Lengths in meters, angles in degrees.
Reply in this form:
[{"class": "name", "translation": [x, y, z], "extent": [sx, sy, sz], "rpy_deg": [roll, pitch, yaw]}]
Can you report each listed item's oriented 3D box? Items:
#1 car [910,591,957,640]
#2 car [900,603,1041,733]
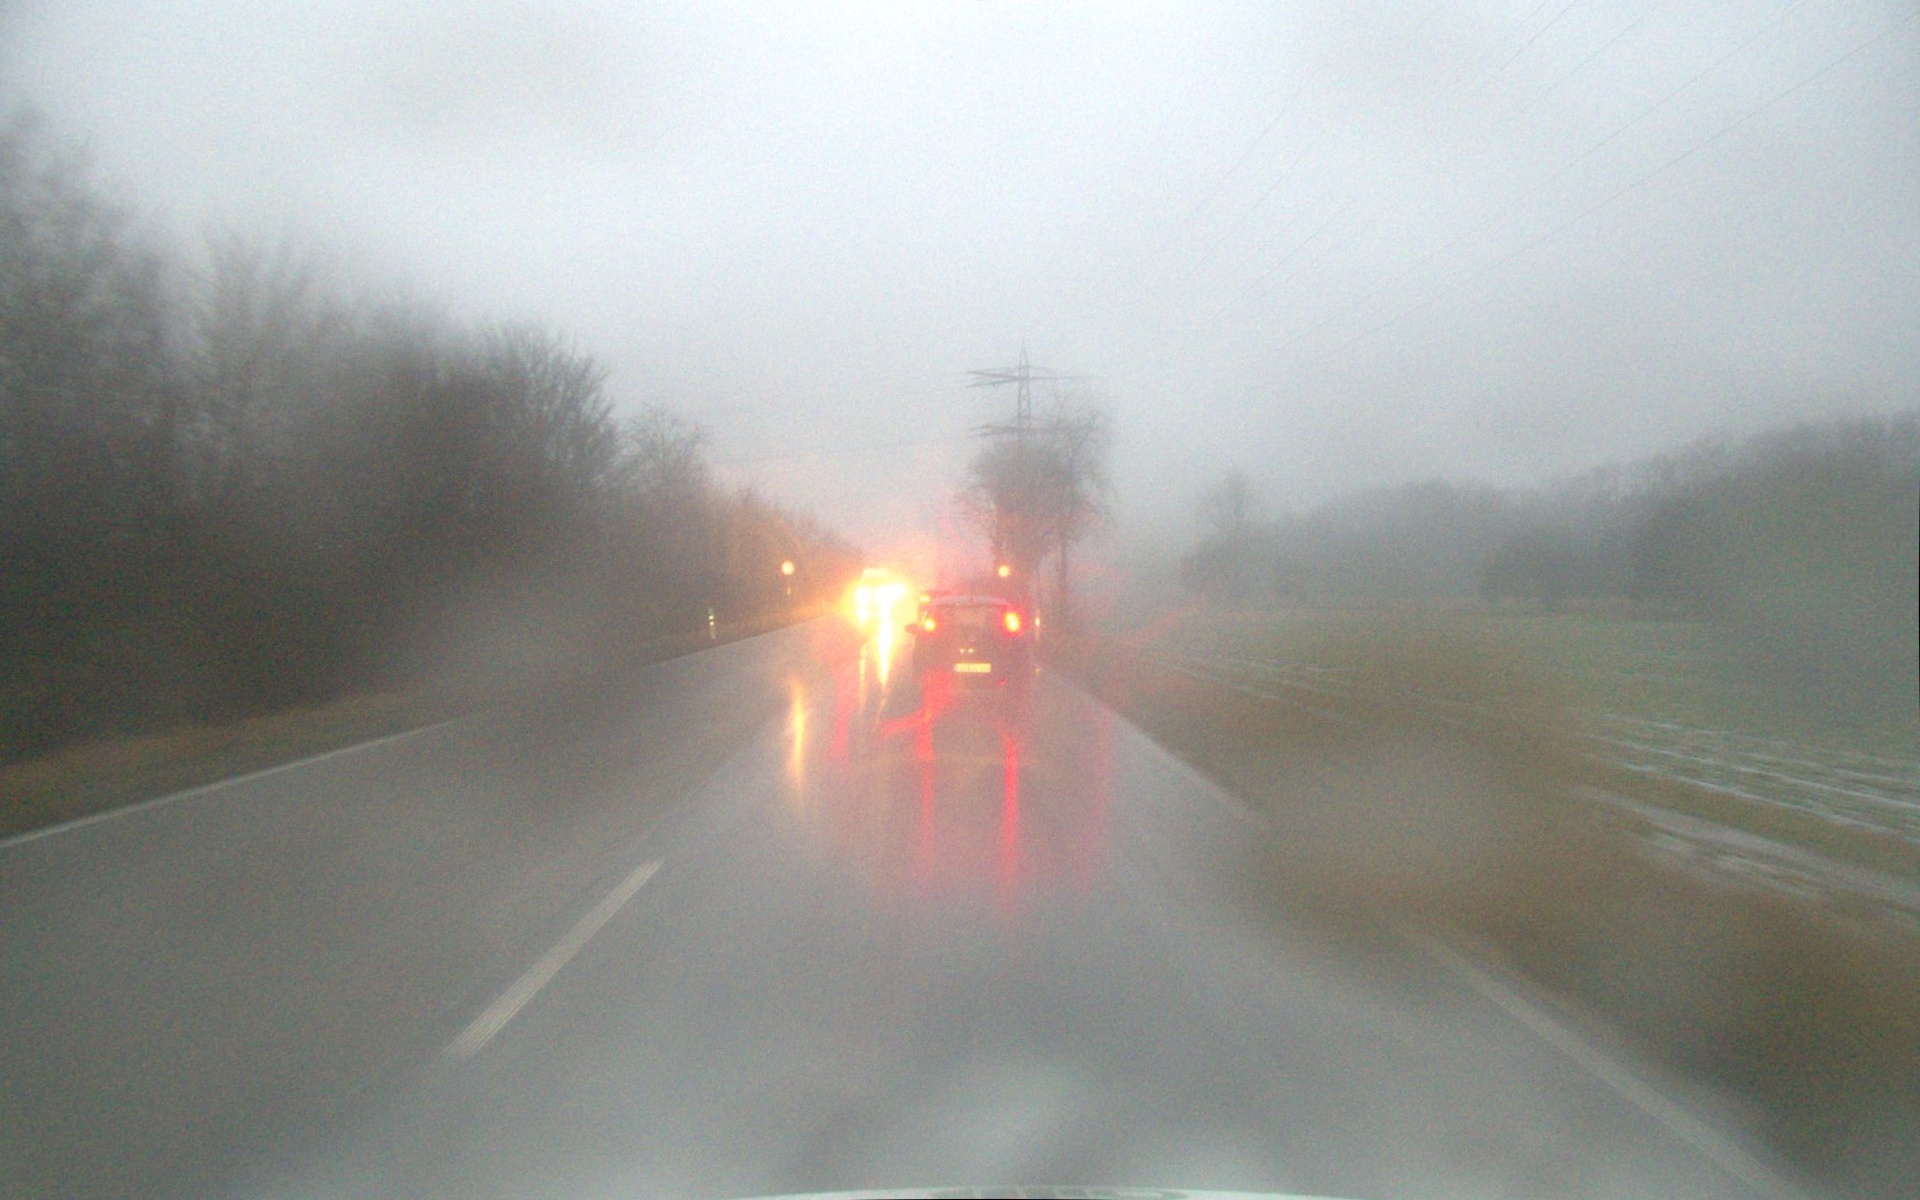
[{"class": "car", "translation": [-1.162, 0.627, 71.208], "extent": [1.953, 2.049, 3.998], "rpy_deg": [0, 0, -2]}, {"class": "car", "translation": [0.110, 0.942, 24.824], "extent": [1.953, 1.783, 3.999], "rpy_deg": [0, 0, -1]}]
